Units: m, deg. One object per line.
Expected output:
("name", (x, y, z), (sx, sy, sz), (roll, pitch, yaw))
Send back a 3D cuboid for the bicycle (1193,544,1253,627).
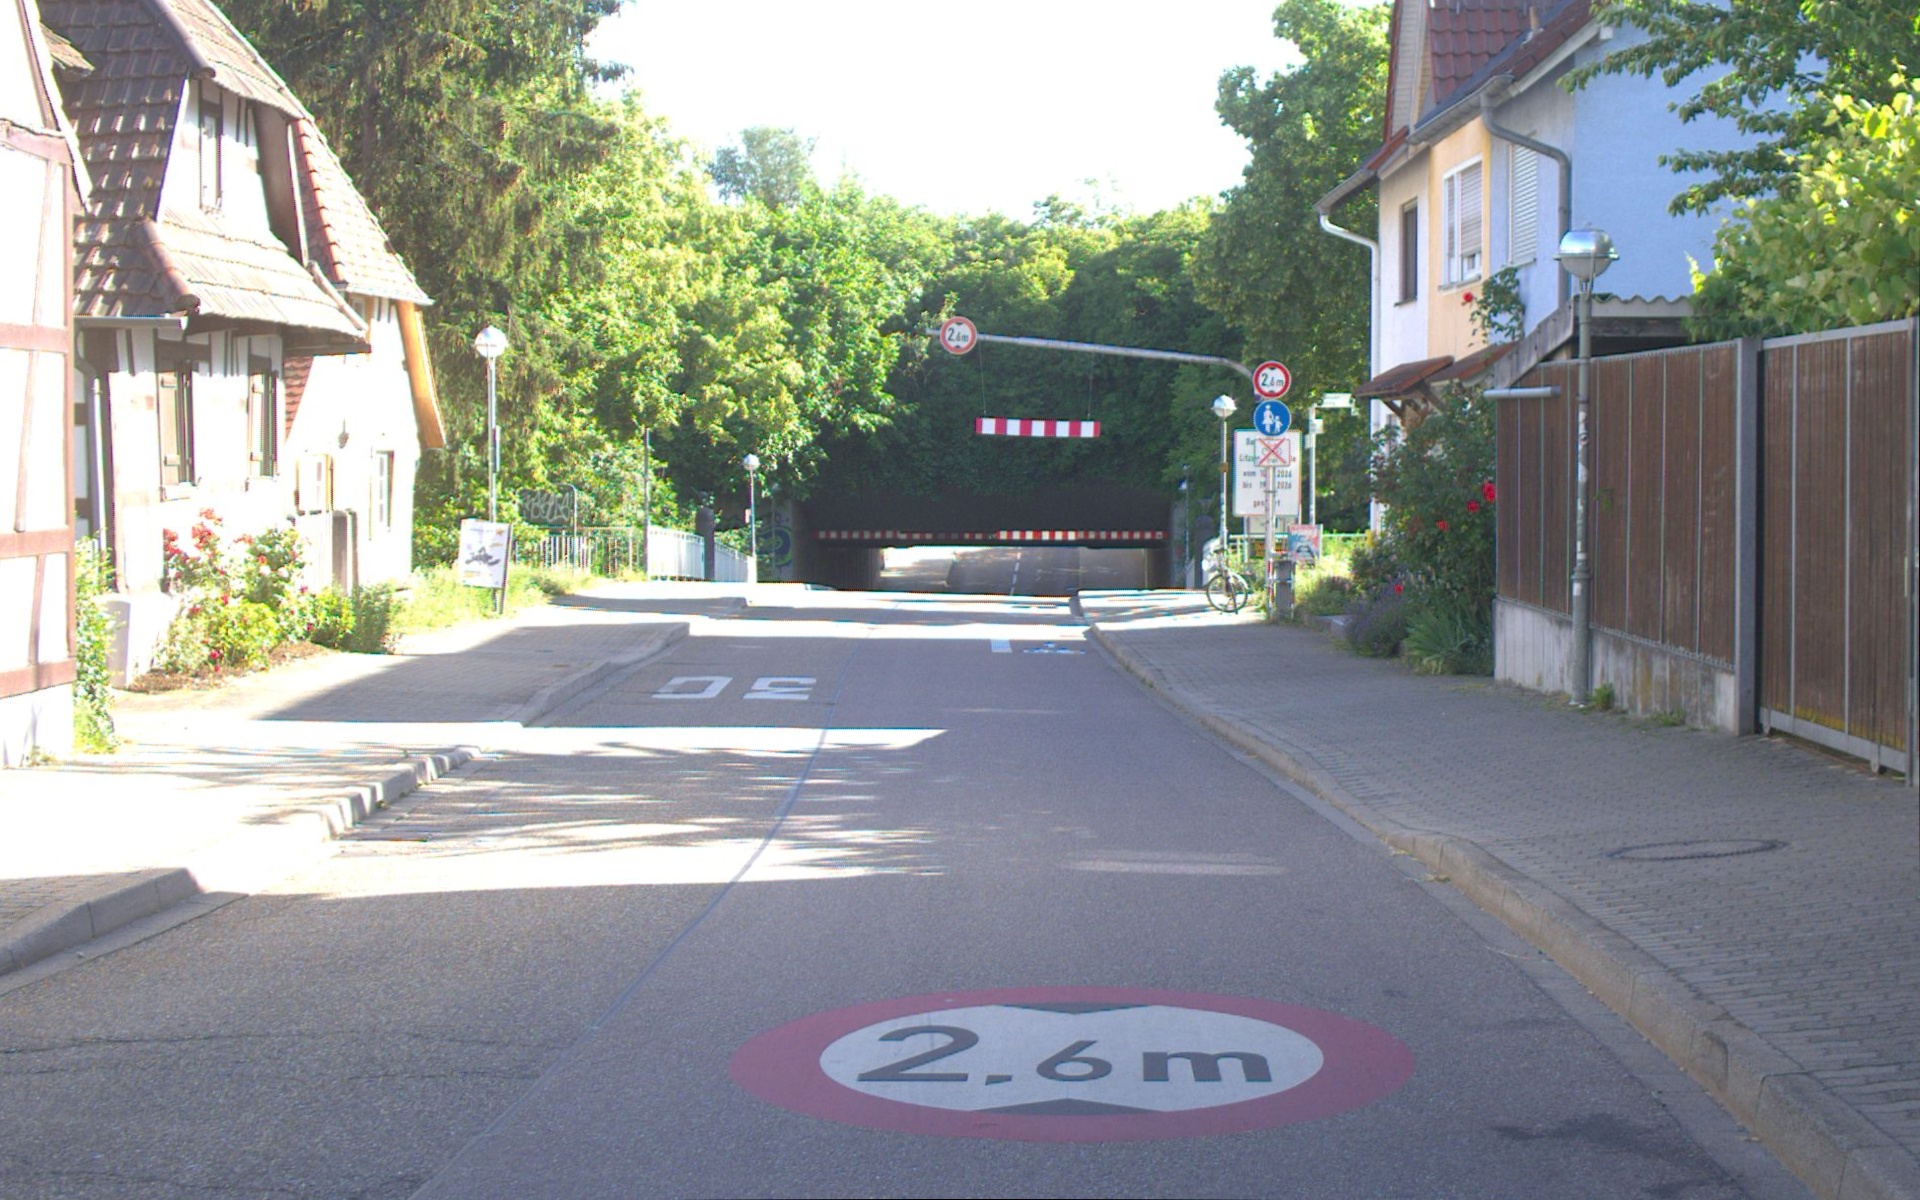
("bicycle", (3.979, -0.230, 52.092), (0.688, 1.153, 1.540), (-5, 2, 0))
